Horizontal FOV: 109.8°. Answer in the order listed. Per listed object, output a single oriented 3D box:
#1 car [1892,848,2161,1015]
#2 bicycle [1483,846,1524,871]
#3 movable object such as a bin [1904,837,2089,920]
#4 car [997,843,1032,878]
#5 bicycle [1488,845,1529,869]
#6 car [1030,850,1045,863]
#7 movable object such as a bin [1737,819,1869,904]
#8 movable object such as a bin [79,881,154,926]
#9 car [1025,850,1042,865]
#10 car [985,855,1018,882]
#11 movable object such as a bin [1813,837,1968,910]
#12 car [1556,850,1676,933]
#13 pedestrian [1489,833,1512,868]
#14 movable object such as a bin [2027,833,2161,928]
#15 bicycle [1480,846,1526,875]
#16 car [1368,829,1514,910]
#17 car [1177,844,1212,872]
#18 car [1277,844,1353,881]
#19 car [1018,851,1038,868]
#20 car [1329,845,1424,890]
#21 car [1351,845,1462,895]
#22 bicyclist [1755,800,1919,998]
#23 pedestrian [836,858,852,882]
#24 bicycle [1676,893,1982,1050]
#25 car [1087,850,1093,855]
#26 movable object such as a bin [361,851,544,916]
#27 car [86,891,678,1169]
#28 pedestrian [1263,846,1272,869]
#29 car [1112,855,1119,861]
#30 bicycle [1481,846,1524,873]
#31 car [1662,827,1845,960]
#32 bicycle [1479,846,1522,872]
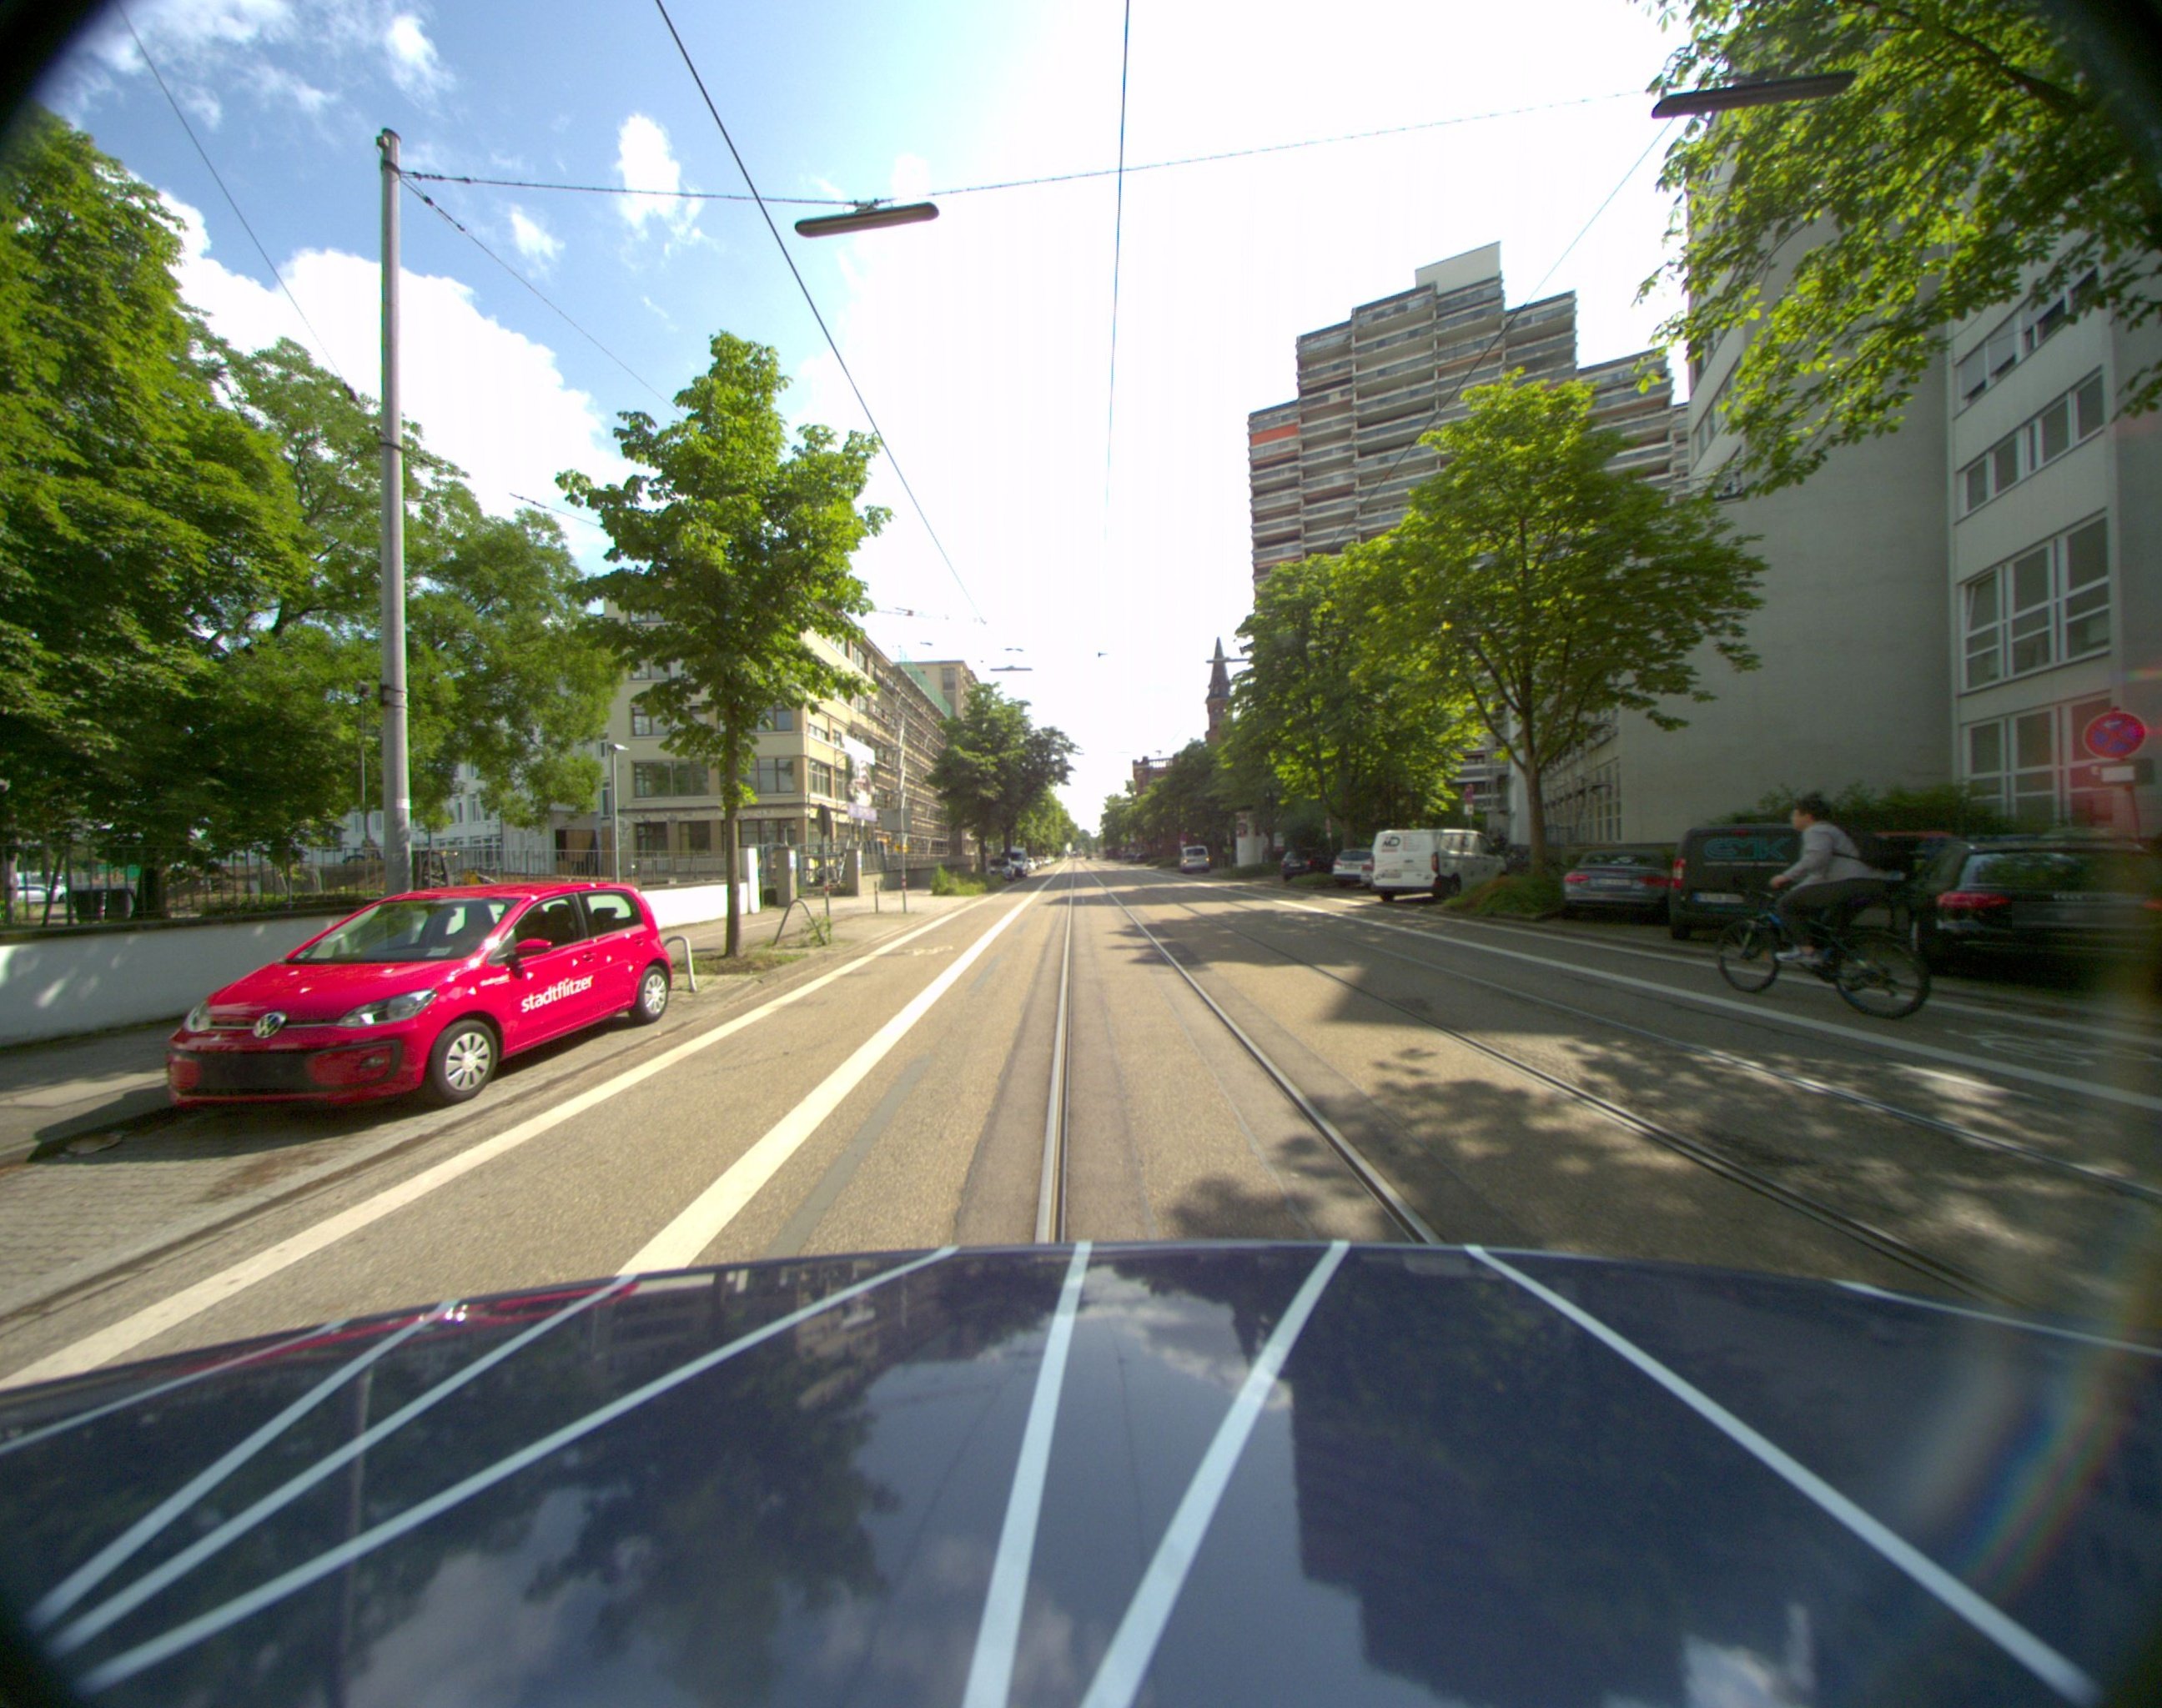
[{"bbox_3d":[10.207,0.655,8.198,1.755,1.409,4.009,1,1,44],"label":"car"},{"bbox_3d":[19.293,0.202,34.718,1.577,1.086,0.543,-2,-2,24],"label":"bicycle"},{"bbox_3d":[16.144,0.406,13.475,1.391,1.356,1.538,1,1,-4],"label":"movable object such as a bin"},{"bbox_3d":[-5.362,0.441,61.945,2.337,2.545,5.389,-5,1,-1],"label":"car"},{"bbox_3d":[19.920,0.141,35.416,1.577,1.074,0.543,-2,-2,24],"label":"bicycle"},{"bbox_3d":[-5.817,0.302,102.895,1.750,1.597,4.235,-5,1,-1],"label":"car"},{"bbox_3d":[15.976,0.149,16.873,1.391,1.771,1.538,1,1,-4],"label":"movable object such as a bin"},{"bbox_3d":[-30.967,1.561,24.421,1.326,1.349,1.127,-1,0,-44],"label":"movable object such as a bin"},{"bbox_3d":[-5.767,0.433,92.030,1.750,1.597,4.235,-5,1,-1],"label":"car"},{"bbox_3d":[-5.337,0.937,51.608,1.750,1.597,4.235,-5,1,-1],"label":"car"},{"bbox_3d":[16.047,0.363,15.128,1.391,1.356,1.538,1,1,-4],"label":"movable object such as a bin"},{"bbox_3d":[10.705,0.633,15.081,1.717,1.409,4.009,1,1,38],"label":"car"},{"bbox_3d":[19.994,-0.169,36.189,0.642,1.615,0.661,-3,2,-8],"label":"pedestrian"},{"bbox_3d":[16.195,0.392,11.791,1.196,1.372,1.441,1,1,-4],"label":"movable object such as a bin"},{"bbox_3d":[17.528,0.268,31.581,1.577,1.155,0.543,-2,-2,23],"label":"bicycle"},{"bbox_3d":[10.097,0.353,21.134,4.695,1.986,1.963,-2,1,-42],"label":"car"},{"bbox_3d":[8.361,0.289,56.361,1.892,1.841,4.235,-5,1,0],"label":"car"},{"bbox_3d":[10.806,0.373,34.960,1.737,1.514,3.893,-2,0,43],"label":"car"},{"bbox_3d":[-5.662,0.550,81.668,1.750,1.597,4.235,-5,1,-1],"label":"car"},{"bbox_3d":[11.106,0.459,28.378,1.817,1.492,4.201,-1,0,44],"label":"car"},{"bbox_3d":[10.887,0.489,25.286,4.179,1.441,1.817,-2,0,-43],"label":"car"},{"bbox_3d":[6.368,0.356,6.439,0.643,1.567,0.741,-1,1,-4],"label":"bicyclist"},{"bbox_3d":[-13.555,0.916,43.510,0.635,1.306,0.463,-4,3,3],"label":"pedestrian"},{"bbox_3d":[6.364,0.928,6.669,0.657,1.034,2.000,-1,1,-3],"label":"bicycle"},{"bbox_3d":[2.844,-0.444,241.988,1.892,1.635,4.235,-2,0,-2],"label":"car"},{"bbox_3d":[-25.267,1.172,30.888,5.442,2.429,1.996,0,-2,-29],"label":"movable object such as a bin"},{"bbox_3d":[-5.098,1.135,6.318,1.604,1.420,3.595,-1,1,-1],"label":"car"},{"bbox_3d":[14.394,0.255,58.717,0.524,1.745,0.635,-4,3,6],"label":"pedestrian"},{"bbox_3d":[8.664,1.031,192.222,1.628,1.565,3.951,1,1,0],"label":"car"},{"bbox_3d":[18.246,0.247,32.909,1.577,1.114,0.543,-2,-2,23],"label":"bicycle"},{"bbox_3d":[10.260,0.499,11.508,3.723,1.683,1.755,0,1,-44],"label":"car"},{"bbox_3d":[18.552,0.228,33.639,1.577,1.107,0.543,-2,-2,23],"label":"bicycle"}]
